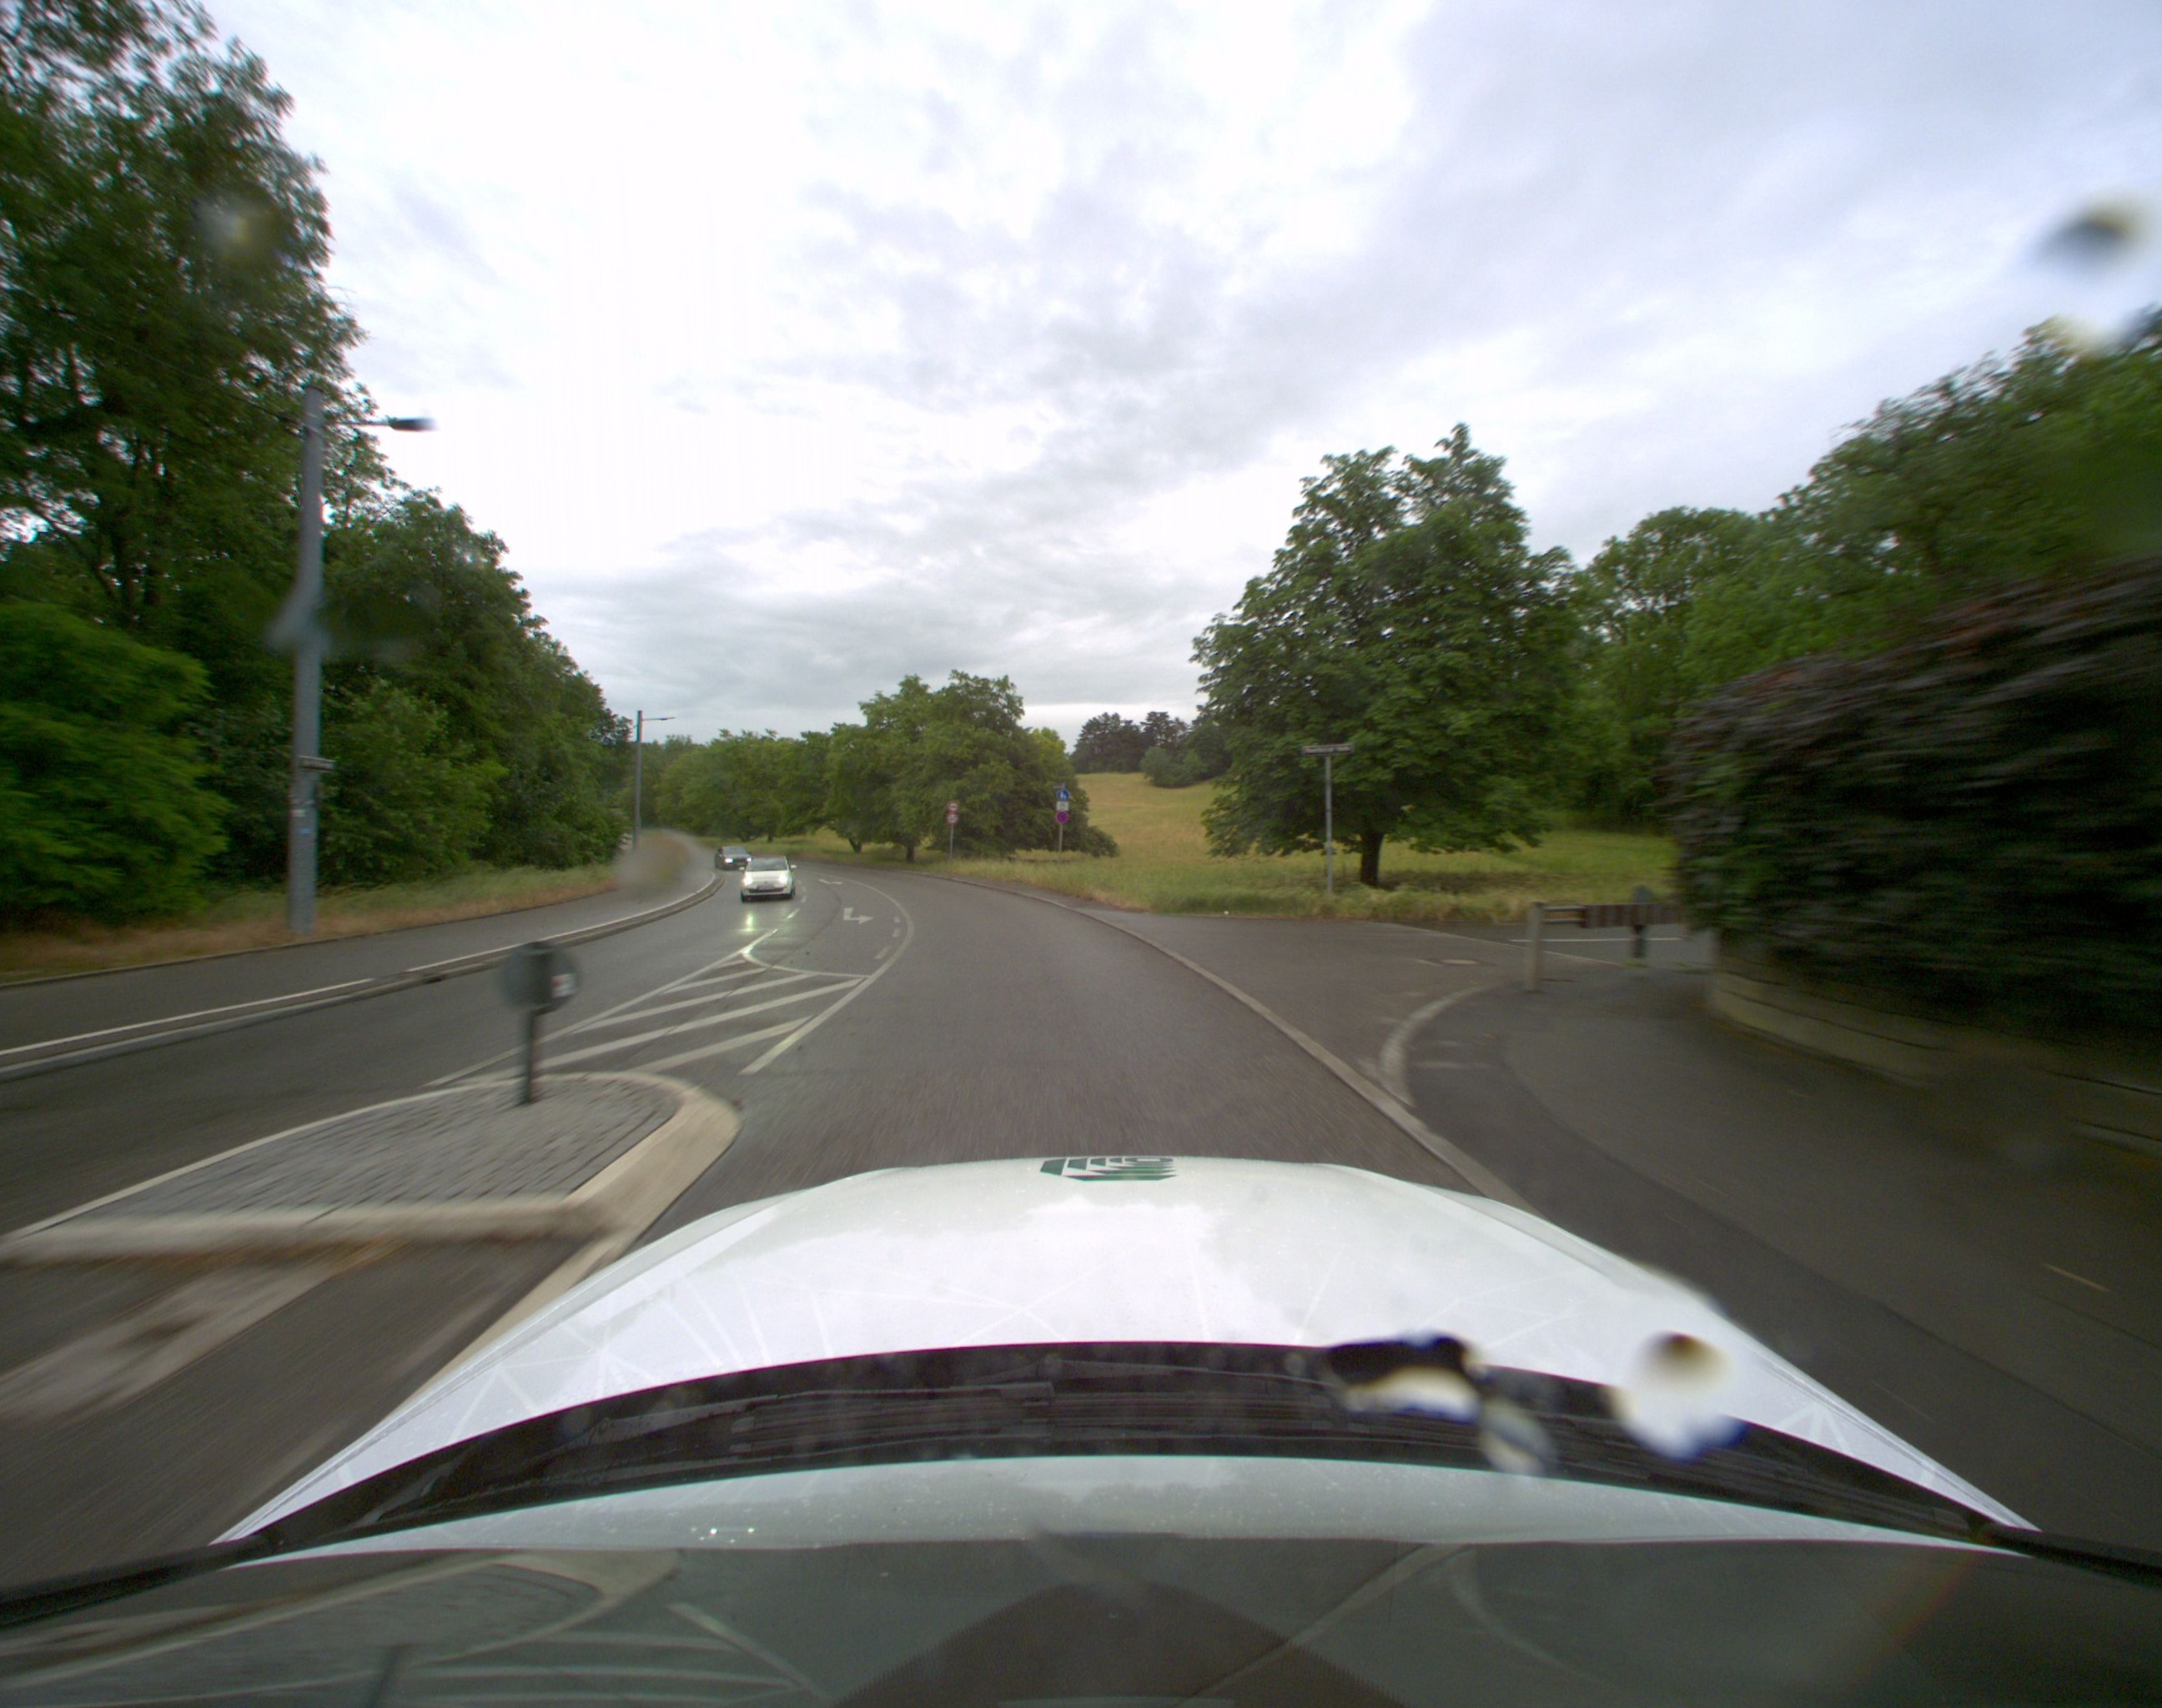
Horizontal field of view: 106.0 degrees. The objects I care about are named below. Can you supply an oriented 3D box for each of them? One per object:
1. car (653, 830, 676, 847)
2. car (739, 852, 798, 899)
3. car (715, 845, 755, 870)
[{"bbox_3d":[-48.383,-1.797,94.520,1.755,1.716,3.957,2,1,-36],"label":"car"},{"bbox_3d":[-10.836,0.690,28.406,1.570,1.477,3.647,-2,1,-16],"label":"car"},{"bbox_3d":[-22.693,0.203,53.333,1.858,1.501,4.587,-3,1,-29],"label":"car"}]
